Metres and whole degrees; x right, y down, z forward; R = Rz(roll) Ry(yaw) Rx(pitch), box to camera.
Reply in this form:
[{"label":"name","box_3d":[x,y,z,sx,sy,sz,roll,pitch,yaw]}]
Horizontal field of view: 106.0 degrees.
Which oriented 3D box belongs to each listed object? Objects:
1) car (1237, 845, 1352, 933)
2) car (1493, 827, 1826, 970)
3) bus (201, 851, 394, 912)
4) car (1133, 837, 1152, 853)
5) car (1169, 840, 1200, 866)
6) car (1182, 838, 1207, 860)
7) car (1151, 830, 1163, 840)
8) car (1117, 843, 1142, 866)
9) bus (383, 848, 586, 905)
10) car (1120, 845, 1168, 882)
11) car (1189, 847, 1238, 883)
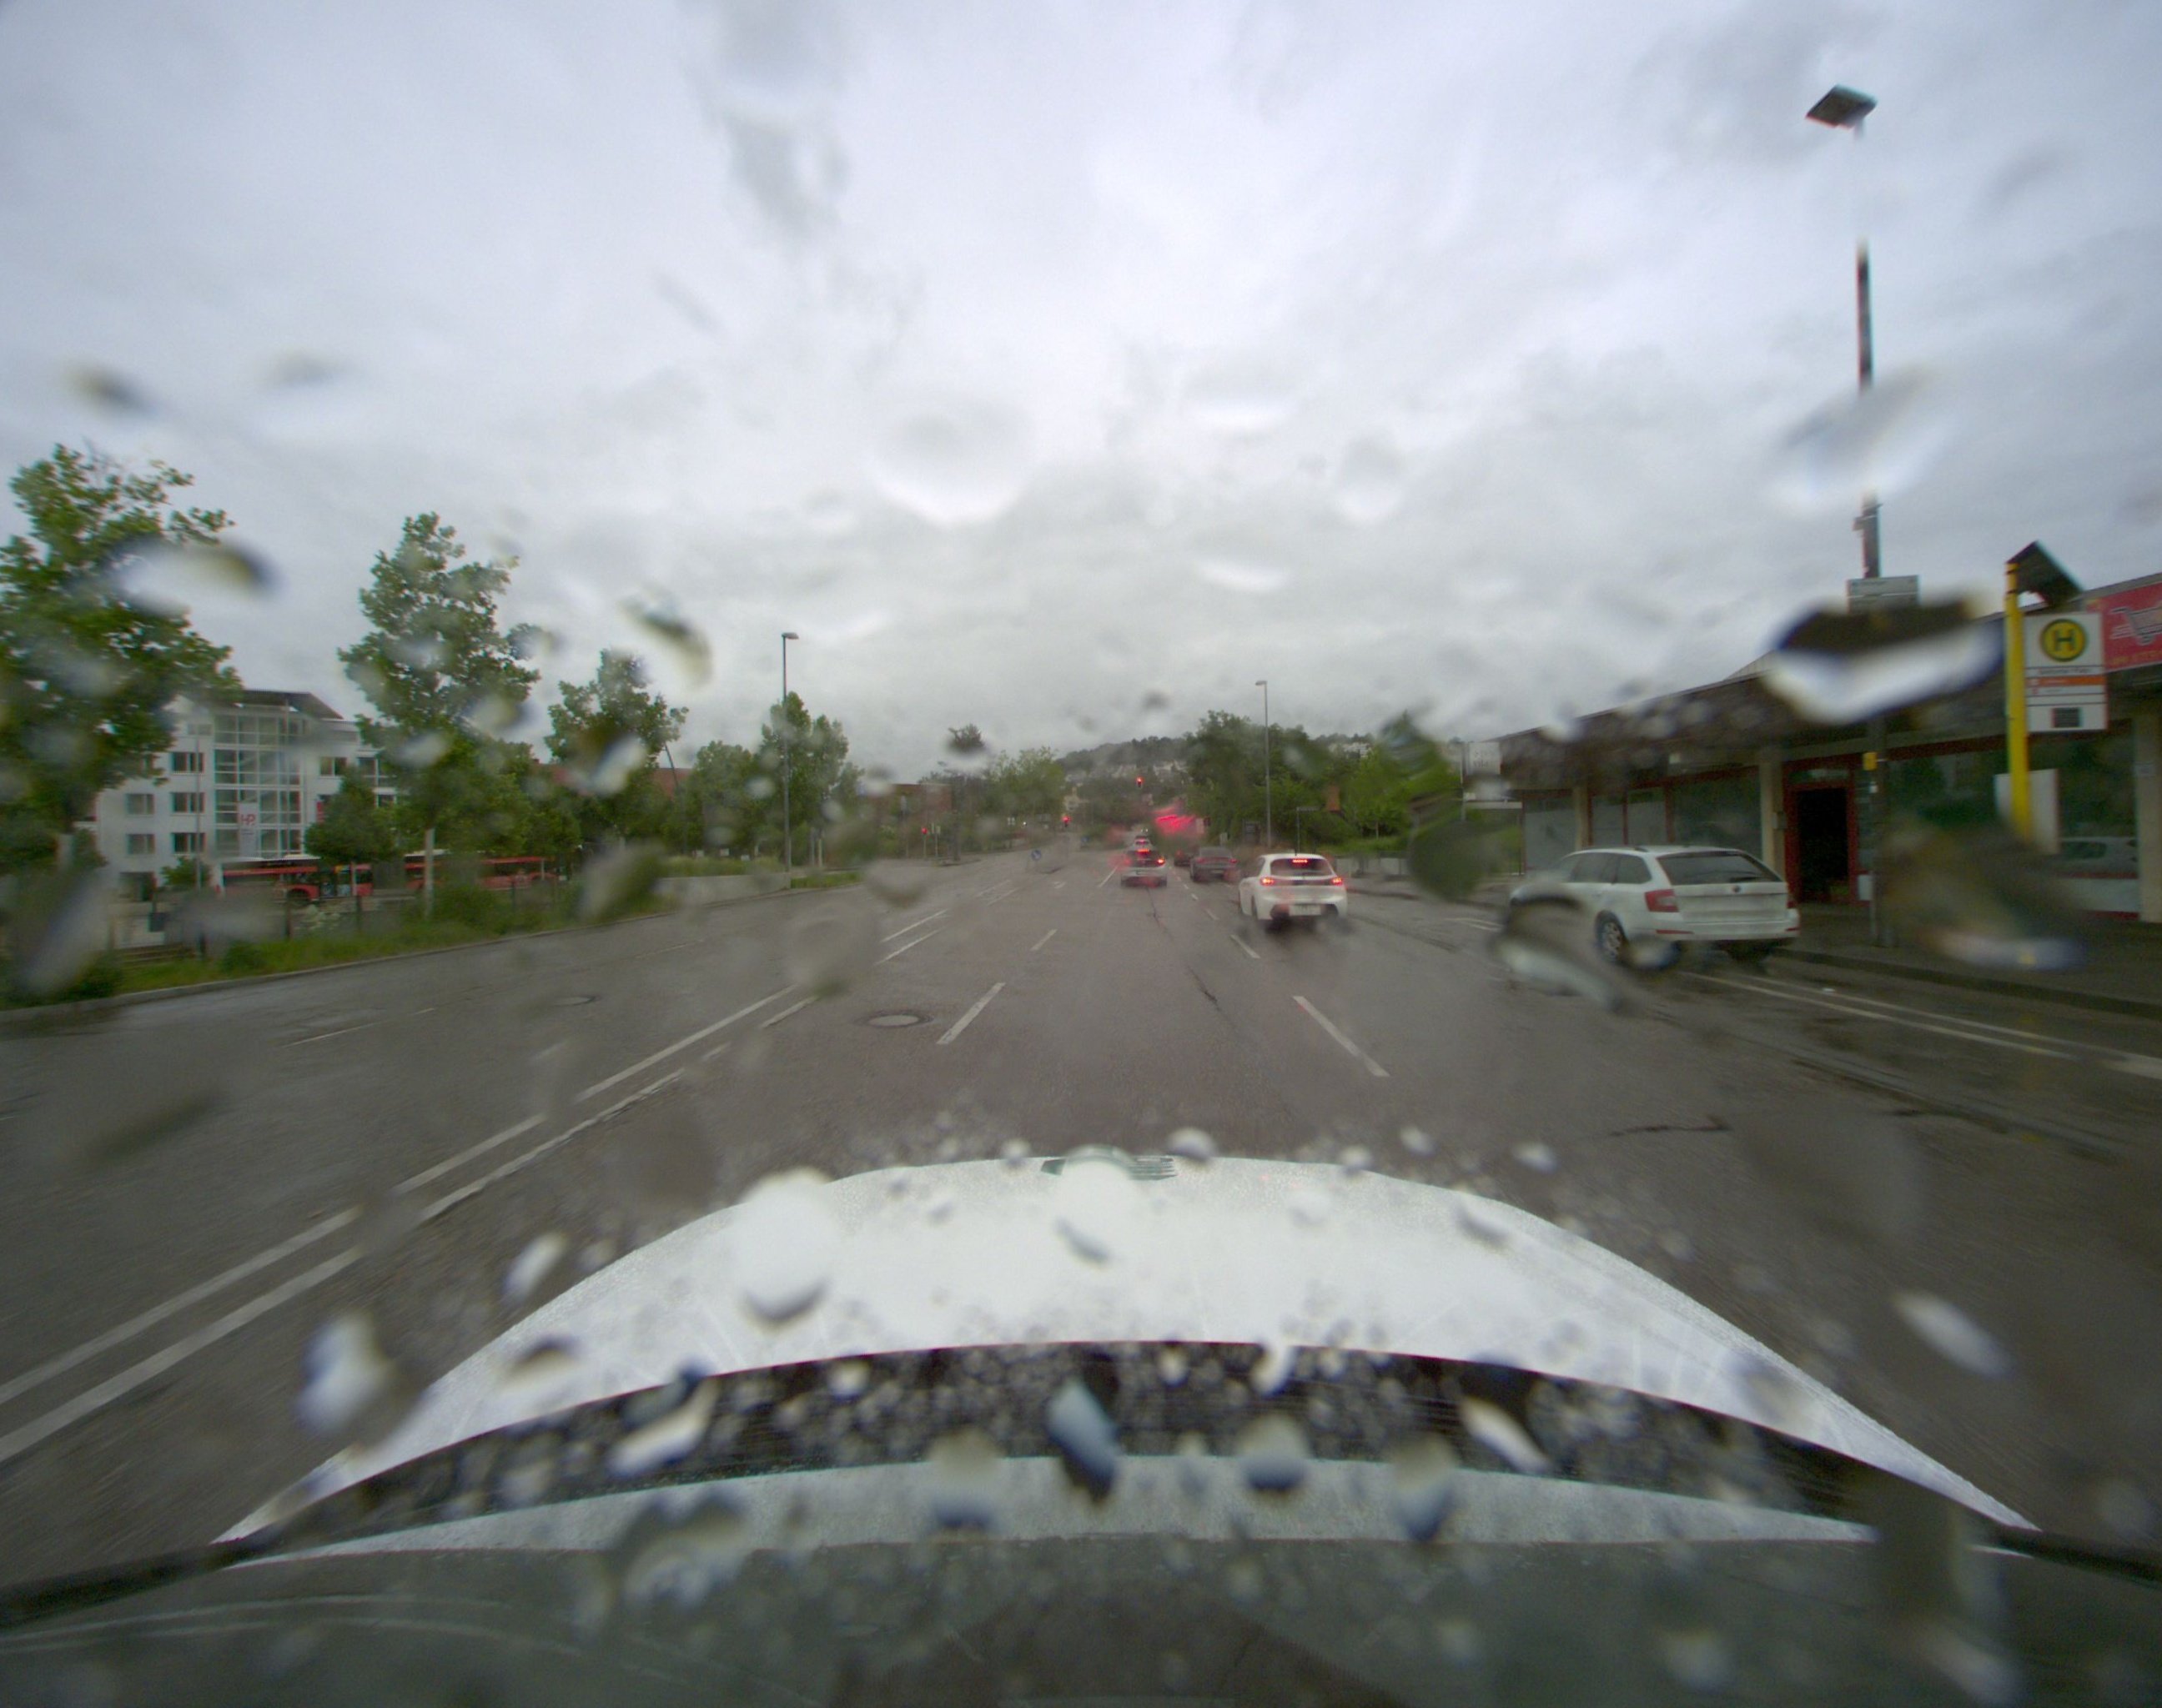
[{"label":"car","box_3d":[4.168,0.608,16.445,1.682,1.519,3.940,-1,1,6]},{"label":"car","box_3d":[7.497,0.488,11.224,1.722,1.497,4.488,-3,0,6]},{"label":"bus","box_3d":[-46.602,1.618,48.845,7.864,3.281,2.716,-1,-3,-30]},{"label":"car","box_3d":[4.921,-0.706,65.290,1.379,1.126,2.612,-3,-2,3]},{"label":"car","box_3d":[6.594,-0.043,51.970,1.641,1.485,3.367,-2,-2,2]},{"label":"car","box_3d":[8.357,-0.341,60.343,1.558,1.397,3.962,-3,-2,4]},{"label":"car","box_3d":[10.342,-2.587,111.073,1.361,1.157,2.427,-2,-2,1]},{"label":"car","box_3d":[2.750,0.051,46.487,1.209,1.156,2.268,-2,-2,-2]},{"label":"bus","box_3d":[-38.578,1.415,53.319,10.441,3.281,2.834,-1,-3,-30]},{"label":"car","box_3d":[2.490,0.392,32.021,1.733,1.296,3.338,-2,-1,5]},{"label":"car","box_3d":[5.713,0.452,35.506,1.727,1.387,3.355,0,2,2]}]
